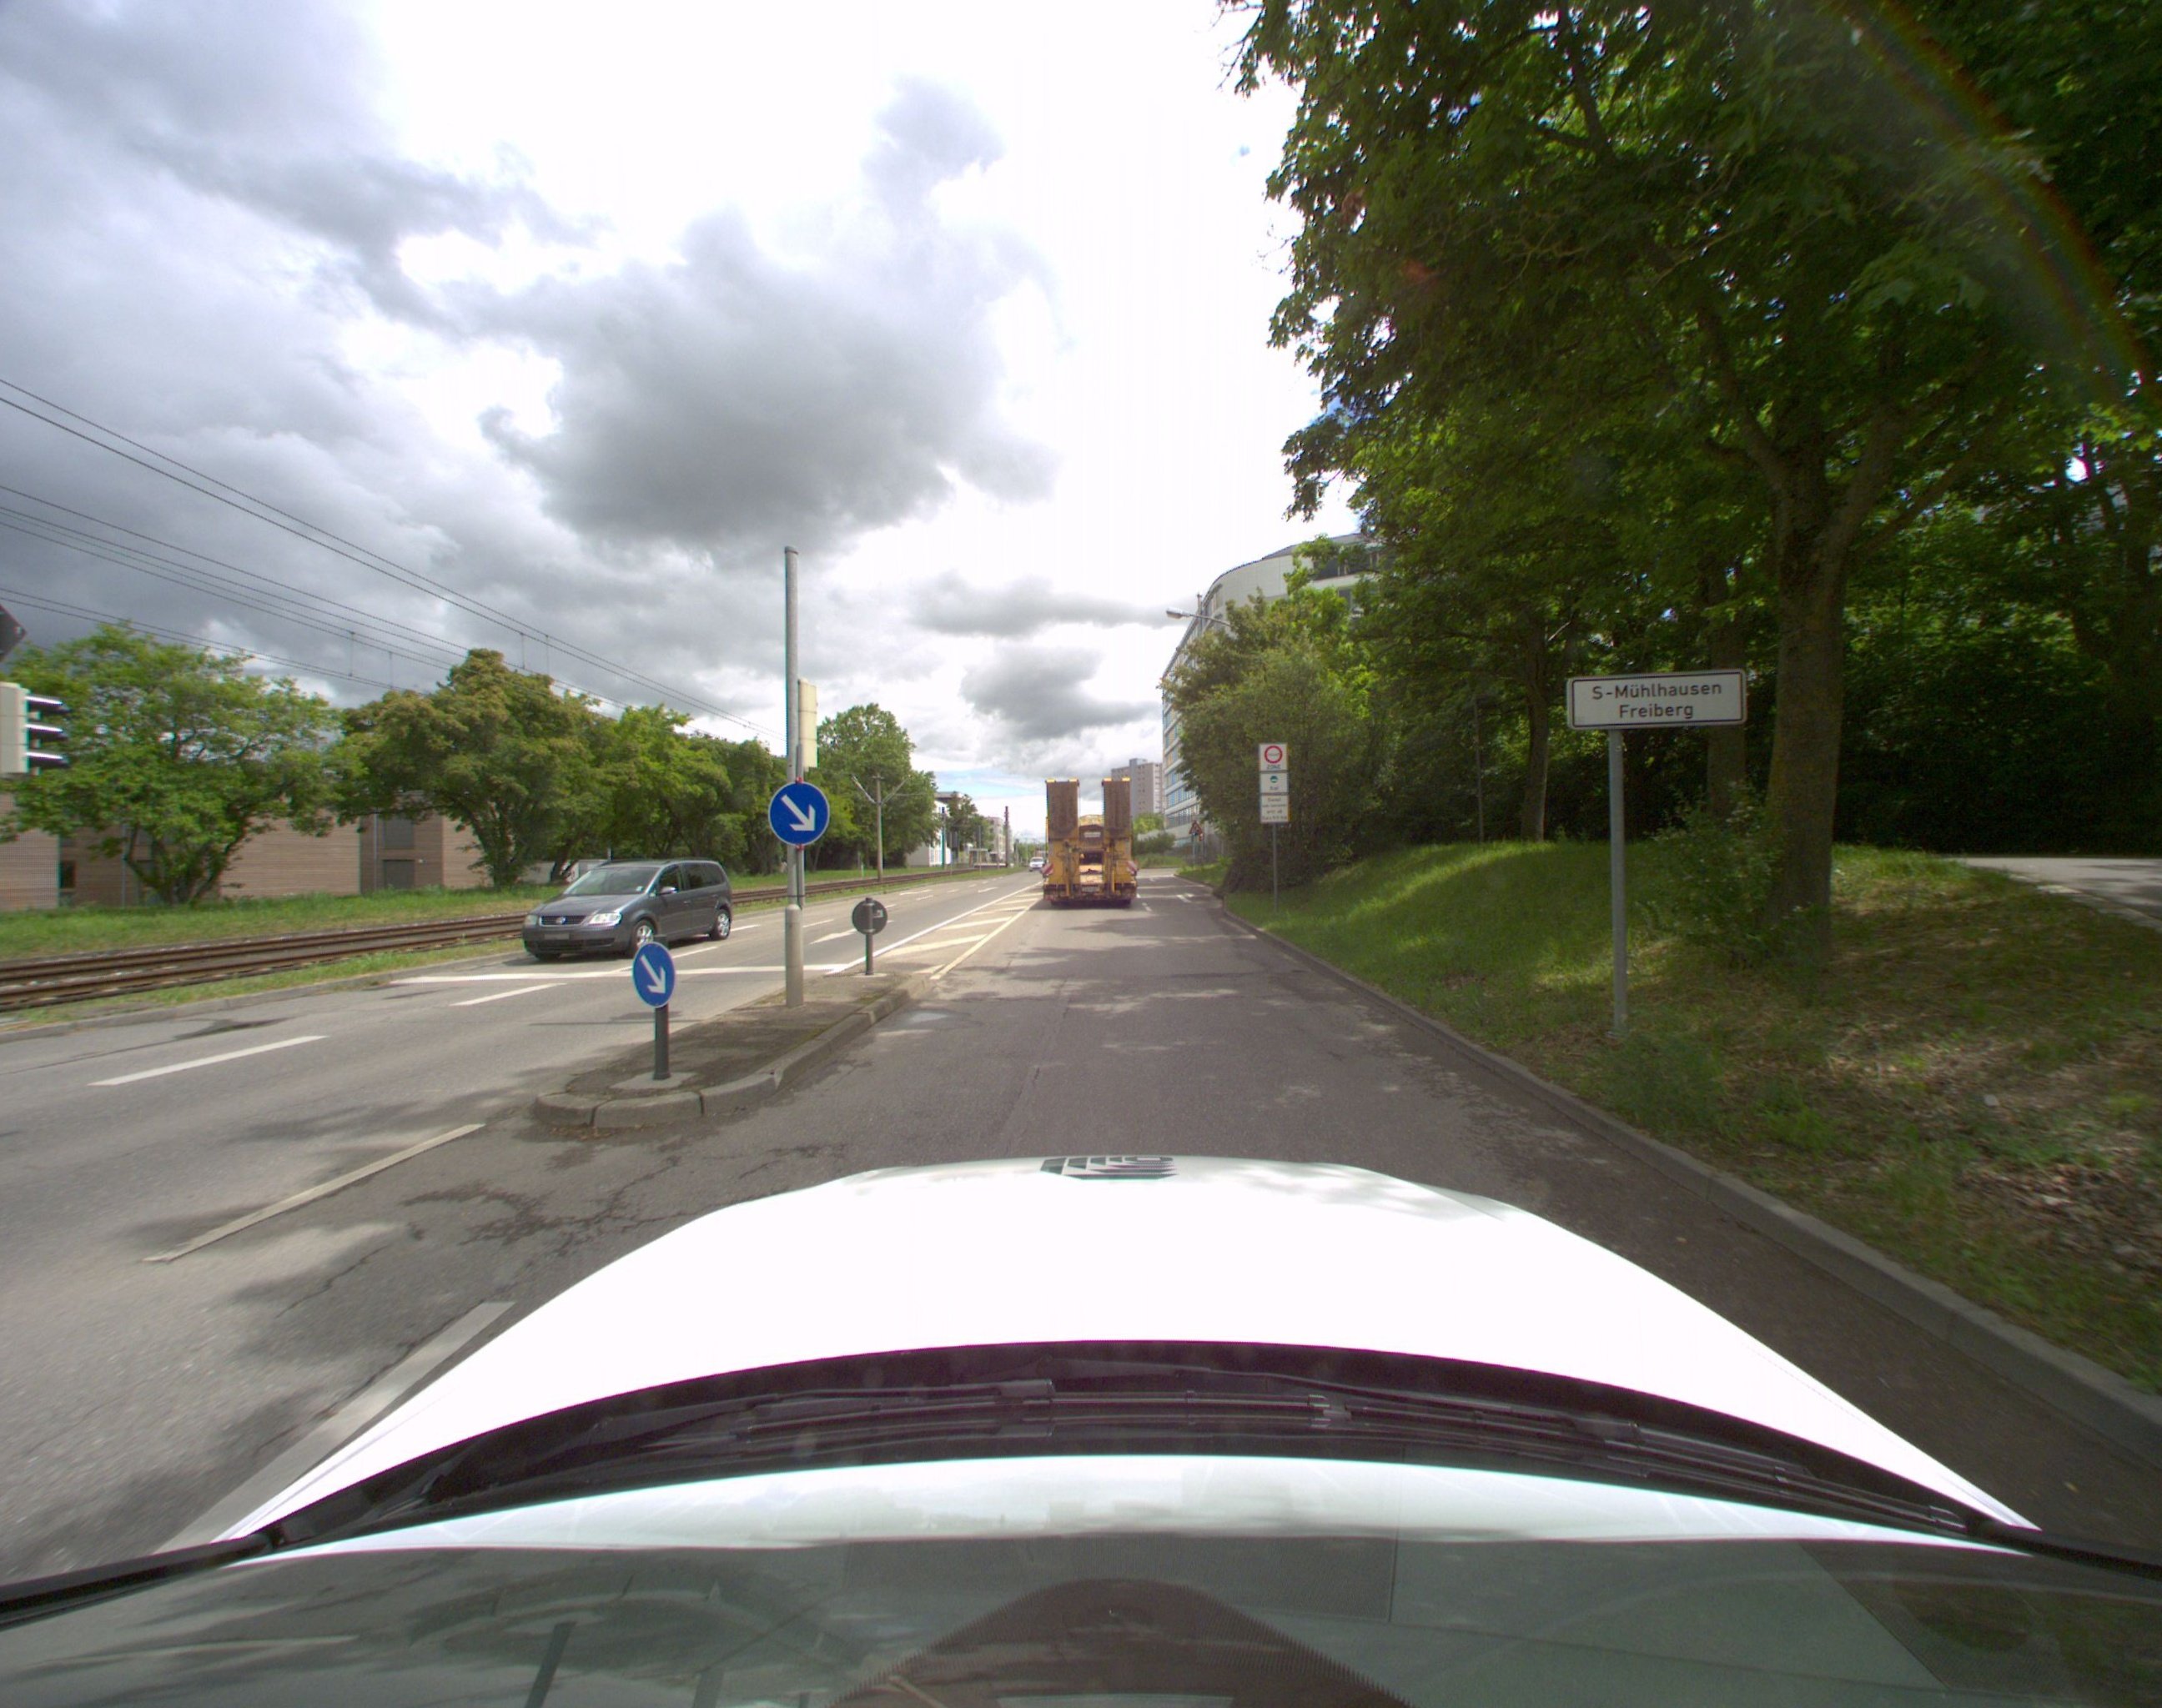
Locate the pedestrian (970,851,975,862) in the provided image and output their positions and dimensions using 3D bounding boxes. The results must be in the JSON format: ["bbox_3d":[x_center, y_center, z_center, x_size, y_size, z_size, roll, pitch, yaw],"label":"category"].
[{"bbox_3d":[-20.494,0.422,153.904,0.649,2.013,0.655,1,0,8],"label":"pedestrian"}]

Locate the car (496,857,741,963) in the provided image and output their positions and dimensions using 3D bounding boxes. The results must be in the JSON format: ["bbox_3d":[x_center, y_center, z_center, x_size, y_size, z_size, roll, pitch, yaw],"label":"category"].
[{"bbox_3d":[-7.979,0.867,14.617,1.777,1.570,4.347,-1,0,2],"label":"car"}]

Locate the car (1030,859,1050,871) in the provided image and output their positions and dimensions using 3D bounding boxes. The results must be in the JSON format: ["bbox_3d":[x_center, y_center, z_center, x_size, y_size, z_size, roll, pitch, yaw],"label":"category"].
[{"bbox_3d":[-4.445,1.190,89.478,1.777,1.271,4.347,-1,0,2],"label":"car"}]

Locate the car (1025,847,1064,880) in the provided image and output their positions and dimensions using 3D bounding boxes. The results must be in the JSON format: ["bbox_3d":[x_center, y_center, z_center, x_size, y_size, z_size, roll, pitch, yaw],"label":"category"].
[{"bbox_3d":[-2.182,0.548,50.172,1.985,1.925,4.003,1,0,3],"label":"car"}]

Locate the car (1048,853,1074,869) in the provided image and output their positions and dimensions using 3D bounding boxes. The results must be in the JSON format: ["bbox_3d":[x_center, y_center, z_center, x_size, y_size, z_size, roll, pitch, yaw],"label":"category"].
[{"bbox_3d":[-1.761,0.614,73.300,1.985,1.420,4.003,1,0,3],"label":"car"}]

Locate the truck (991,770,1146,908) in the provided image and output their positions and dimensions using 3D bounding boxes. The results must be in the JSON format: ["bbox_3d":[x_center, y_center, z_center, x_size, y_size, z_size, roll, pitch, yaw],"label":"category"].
[{"bbox_3d":[0.144,-0.425,27.910,3.297,3.651,12.591,1,0,8],"label":"truck"}]

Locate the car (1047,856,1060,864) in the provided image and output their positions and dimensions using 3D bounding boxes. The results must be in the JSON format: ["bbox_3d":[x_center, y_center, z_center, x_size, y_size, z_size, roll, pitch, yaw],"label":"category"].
[{"bbox_3d":[-4.329,0.901,127.283,1.778,1.271,4.345,-1,0,1],"label":"car"}]
